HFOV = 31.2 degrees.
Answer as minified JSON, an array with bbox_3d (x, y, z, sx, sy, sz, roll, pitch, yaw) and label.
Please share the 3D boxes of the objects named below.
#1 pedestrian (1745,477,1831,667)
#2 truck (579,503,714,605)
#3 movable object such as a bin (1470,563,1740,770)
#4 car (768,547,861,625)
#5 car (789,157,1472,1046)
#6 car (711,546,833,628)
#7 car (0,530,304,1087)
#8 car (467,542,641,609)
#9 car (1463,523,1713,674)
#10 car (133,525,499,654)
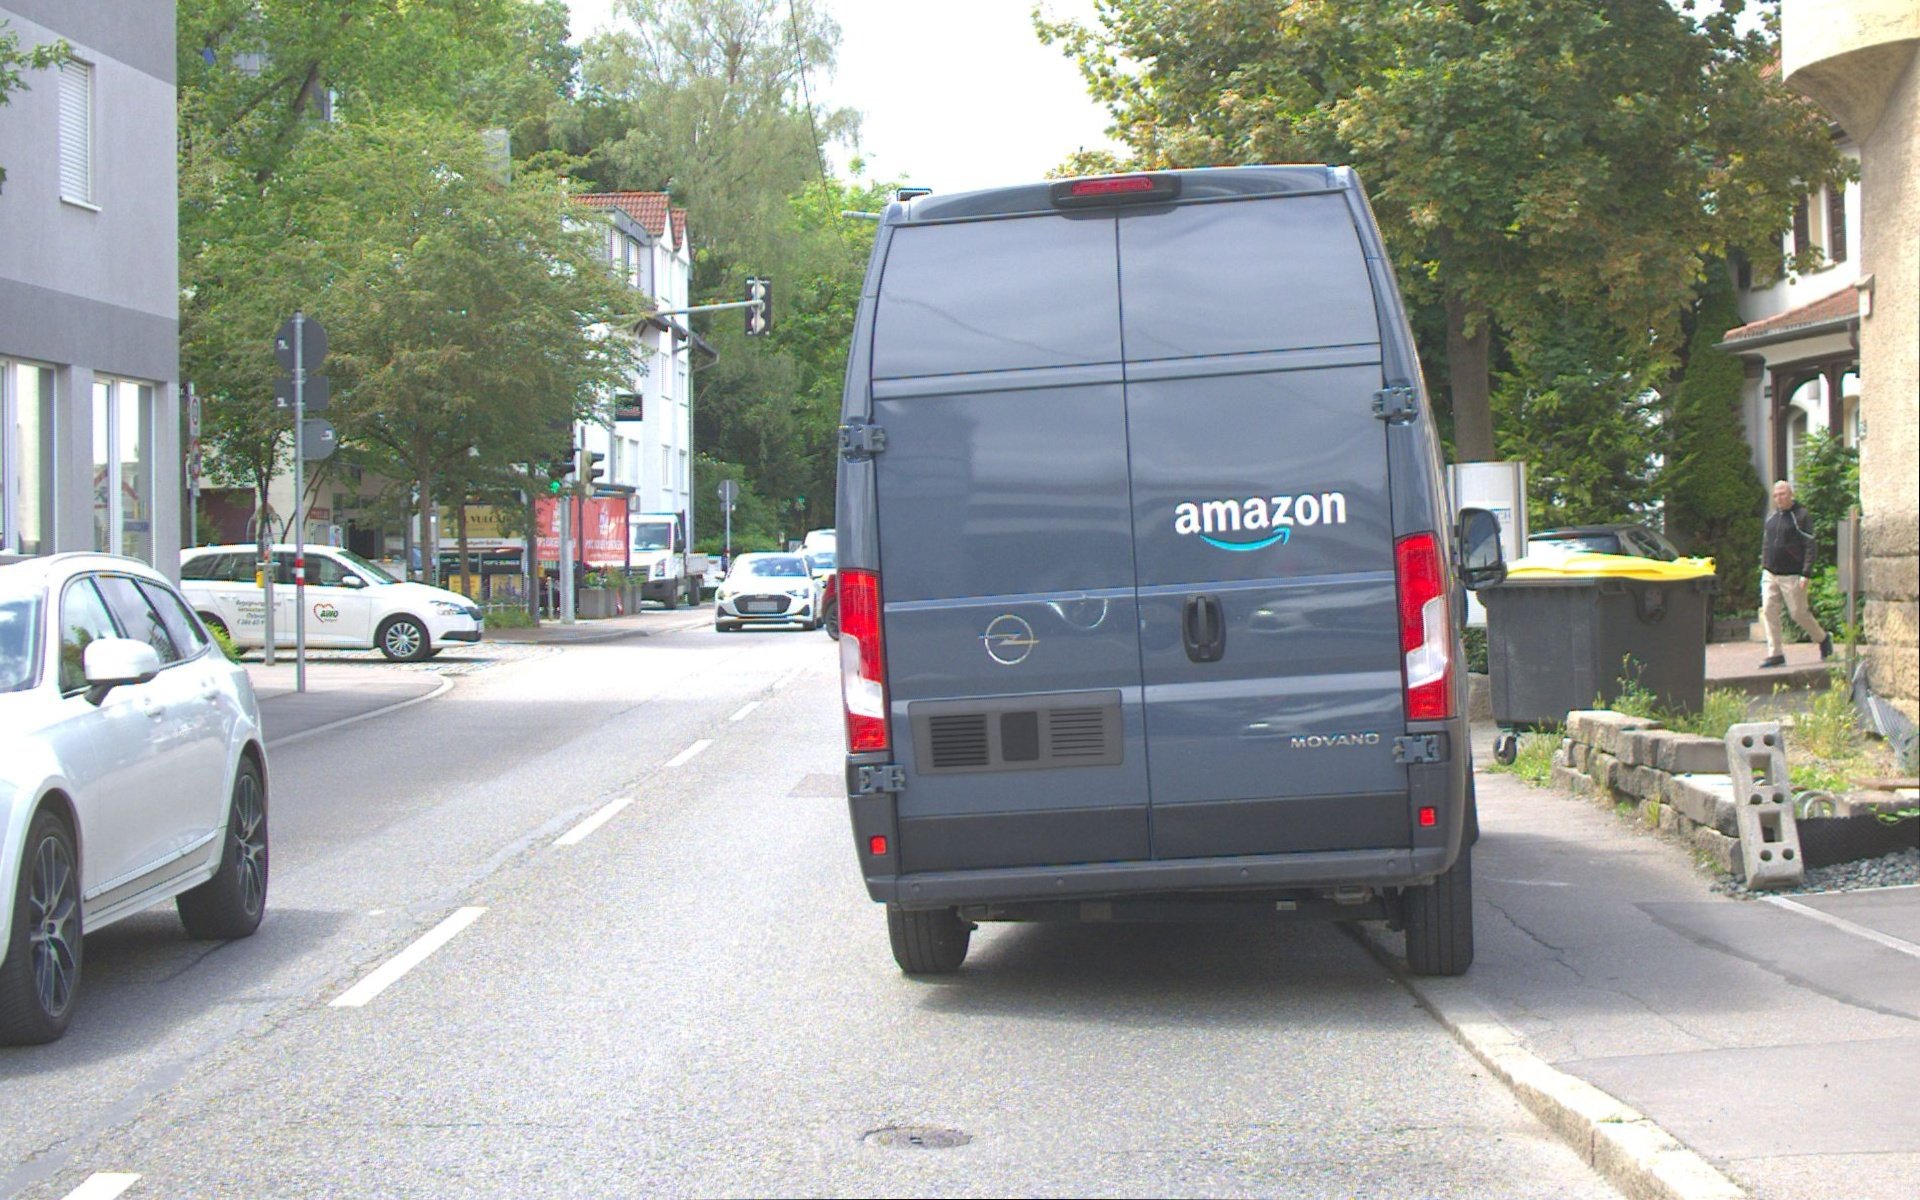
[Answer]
[{"bbox_3d":[7.848,-0.272,32.599,0.740,1.776,0.899,0,1,11],"label":"pedestrian"},{"bbox_3d":[-7.619,-1.091,84.127,2.225,2.372,6.324,1,0,5],"label":"truck"},{"bbox_3d":[4.089,0.399,21.845,1.182,1.261,1.210,0,1,-30],"label":"movable object such as a bin"},{"bbox_3d":[-3.020,-0.311,71.977,1.728,1.532,4.000,1,1,1],"label":"car"},{"bbox_3d":[0.974,-0.039,13.924,2.148,2.761,6.247,0,1,8],"label":"car"},{"bbox_3d":[-3.378,-0.254,62.503,1.874,1.419,4.115,1,1,1],"label":"car"},{"bbox_3d":[-3.671,0.593,11.760,1.897,1.554,4.801,-3,1,0],"label":"car"},{"bbox_3d":[-9.059,-0.554,76.870,3.692,1.420,1.805,1,1,-2],"label":"car"},{"bbox_3d":[7.356,-0.049,39.994,1.754,1.512,4.074,-3,1,26],"label":"car"},{"bbox_3d":[-8.011,-0.152,42.996,4.212,1.508,1.822,1,2,2],"label":"car"}]
